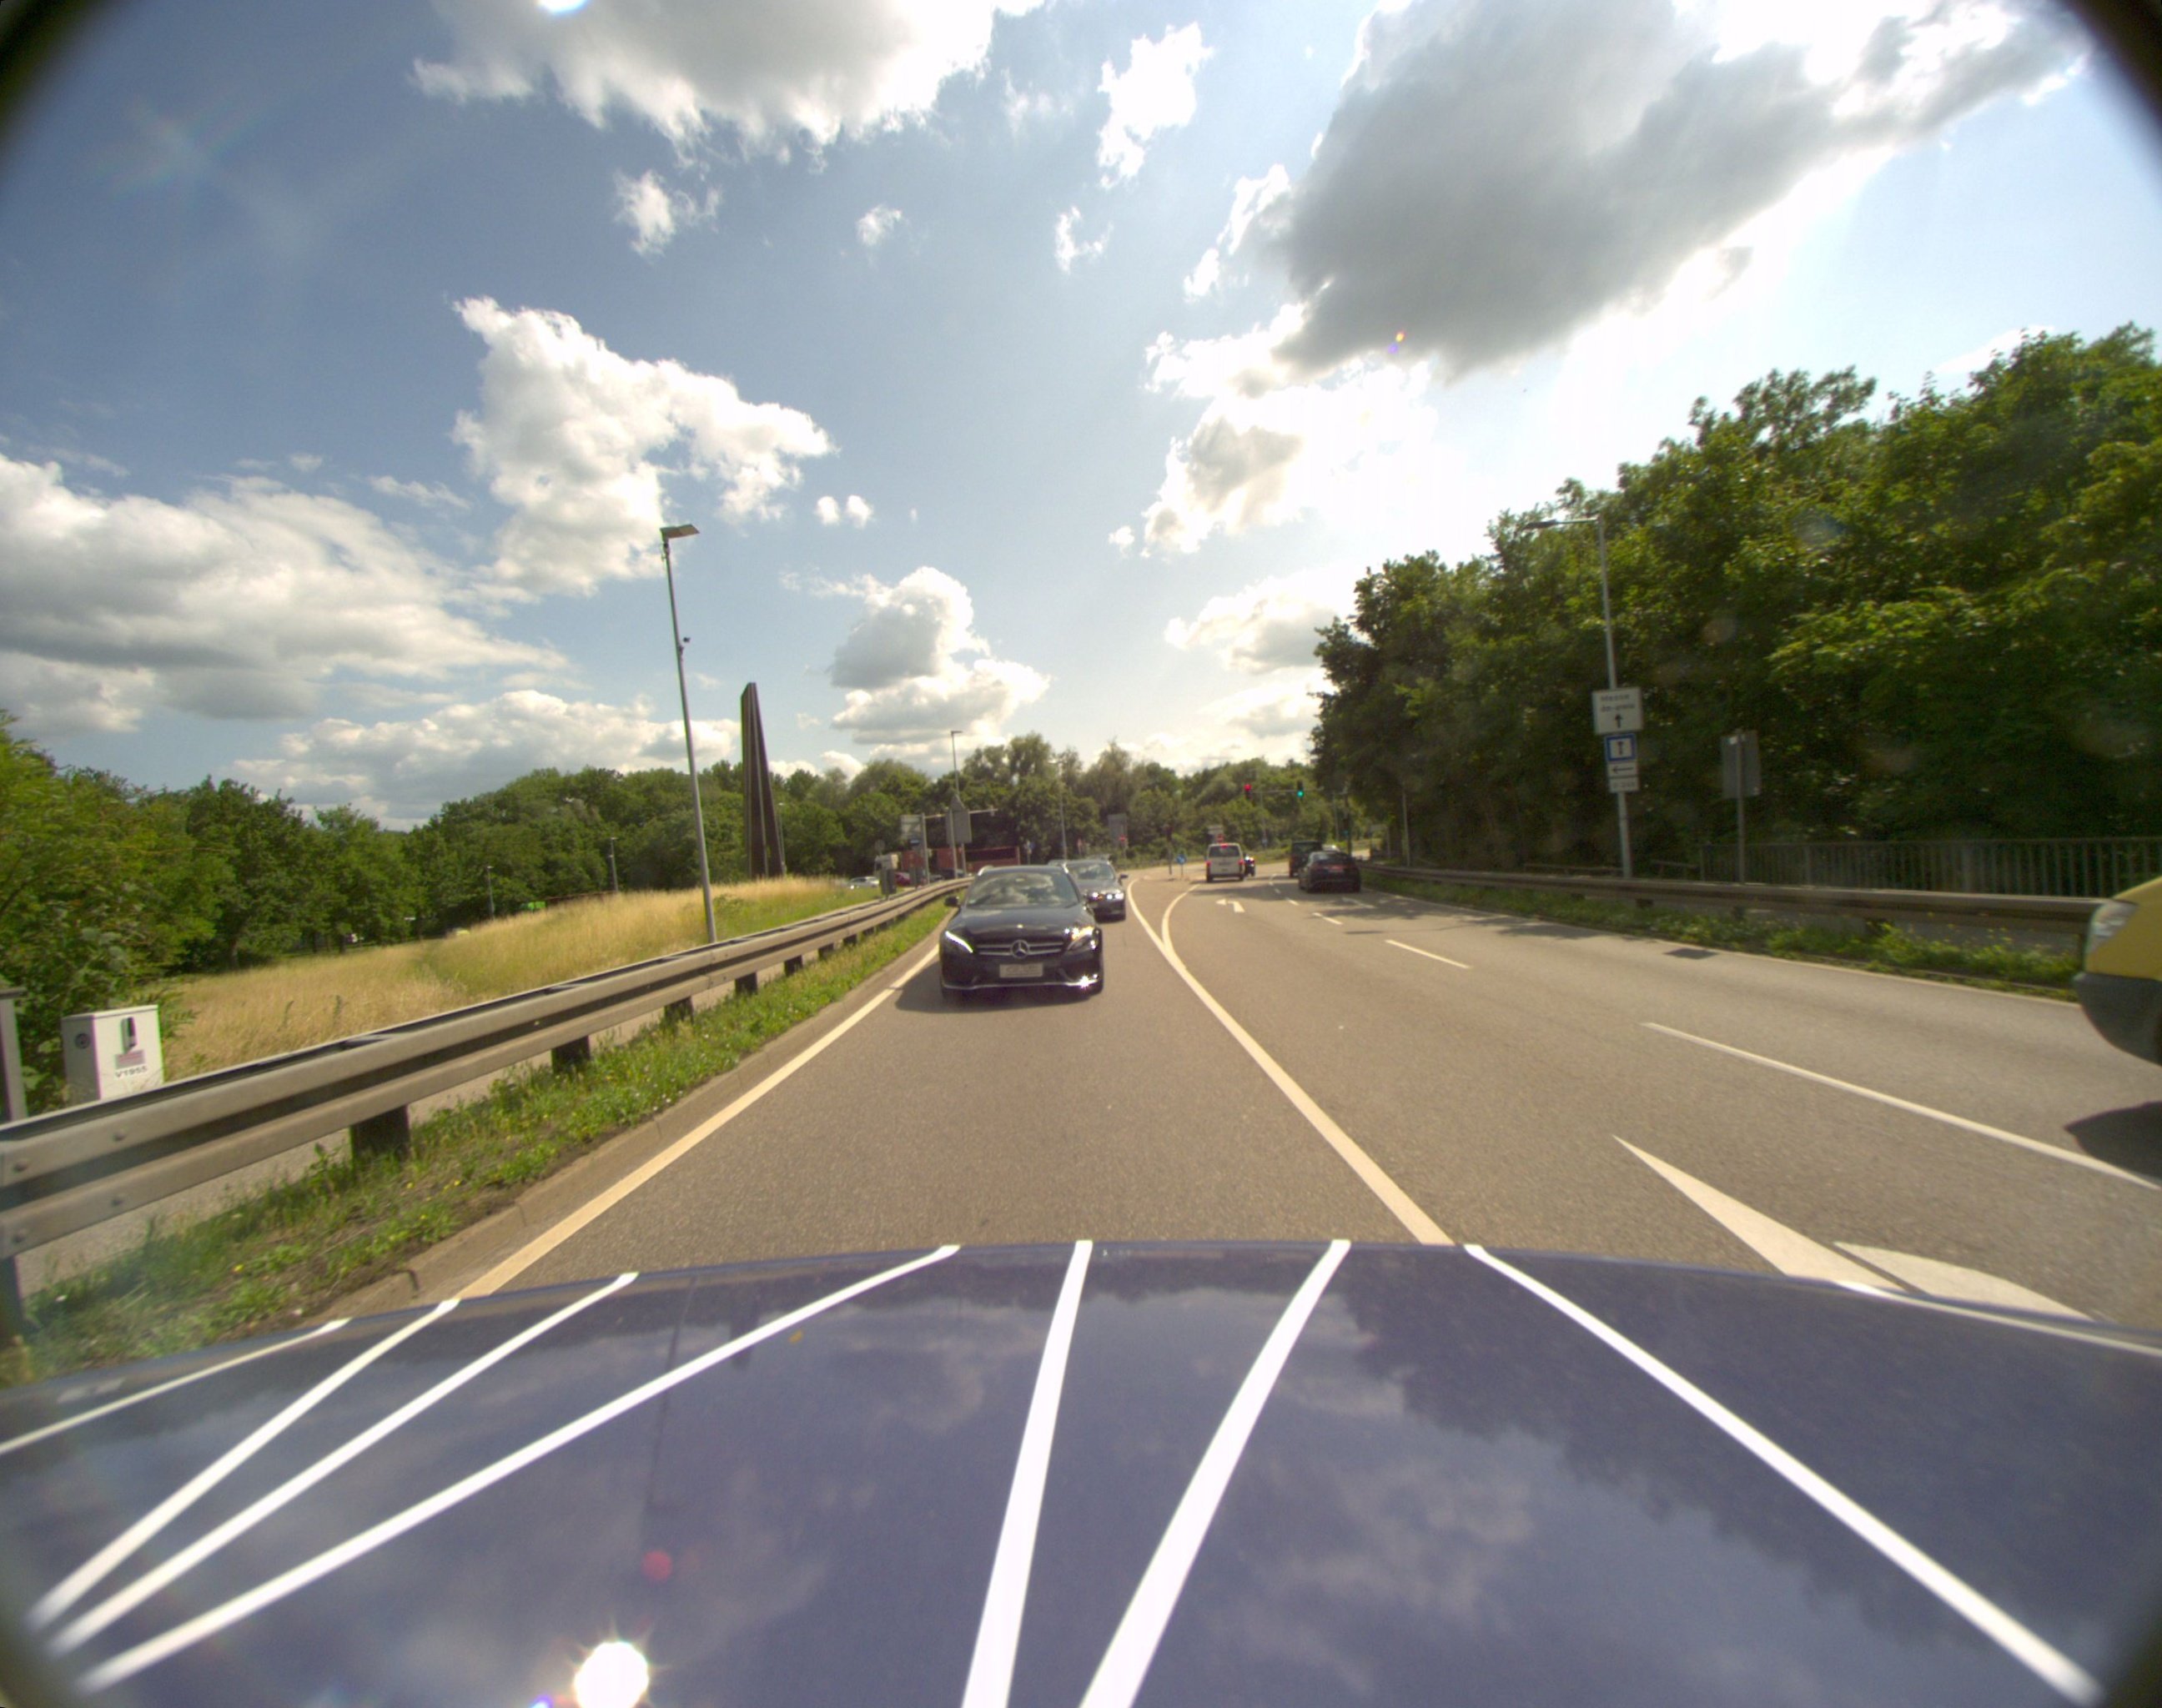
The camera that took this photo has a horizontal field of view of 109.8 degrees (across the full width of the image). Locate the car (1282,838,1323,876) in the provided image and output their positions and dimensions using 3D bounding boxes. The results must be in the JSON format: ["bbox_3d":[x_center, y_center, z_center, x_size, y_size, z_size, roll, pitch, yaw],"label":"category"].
[{"bbox_3d":[12.271,0.153,41.974,1.996,1.902,5.138,-2,0,17],"label":"car"}]

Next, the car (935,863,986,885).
[{"bbox_3d":[-10.874,1.812,68.673,4.284,1.607,1.848,-5,1,32],"label":"car"}]

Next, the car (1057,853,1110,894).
[{"bbox_3d":[0.164,0.731,30.001,1.858,1.402,4.001,-3,0,3],"label":"car"}]

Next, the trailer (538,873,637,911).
[{"bbox_3d":[-65.130,5.007,100.110,13.821,3.868,2.651,-5,0,18],"label":"trailer"}]

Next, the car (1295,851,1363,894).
[{"bbox_3d":[8.854,0.621,27.416,1.801,1.381,4.009,-2,0,11],"label":"car"}]

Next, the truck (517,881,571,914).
[{"bbox_3d":[-72.557,5.863,102.655,5.866,3.880,2.881,-6,0,19],"label":"truck"}]

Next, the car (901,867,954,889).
[{"bbox_3d":[-13.155,2.060,64.918,4.206,1.636,1.841,-5,-1,32],"label":"car"}]

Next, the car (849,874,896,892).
[{"bbox_3d":[-18.910,2.661,68.905,4.206,1.367,1.649,-5,-1,32],"label":"car"}]

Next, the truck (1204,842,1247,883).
[{"bbox_3d":[7.611,0.394,39.992,1.964,1.902,5.374,-3,0,11],"label":"truck"}]

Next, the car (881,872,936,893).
[{"bbox_3d":[-13.852,2.266,60.914,4.206,1.367,1.762,-5,-1,32],"label":"car"}]

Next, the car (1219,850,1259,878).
[{"bbox_3d":[9.600,0.567,46.385,1.702,1.548,3.823,-3,0,3],"label":"car"}]

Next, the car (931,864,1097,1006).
[{"bbox_3d":[-0.961,0.945,10.818,1.796,1.427,4.367,-3,0,-6],"label":"car"}]

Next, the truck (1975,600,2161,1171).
[{"bbox_3d":[5.854,0.128,1.119,1.998,2.605,6.104,-1,0,2],"label":"truck"}]

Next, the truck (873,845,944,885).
[{"bbox_3d":[-18.557,1.188,82.089,6.814,3.822,2.778,-4,0,0],"label":"truck"}]

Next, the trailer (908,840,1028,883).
[{"bbox_3d":[-12.117,0.816,82.084,12.313,3.827,2.780,-4,0,-1],"label":"trailer"}]

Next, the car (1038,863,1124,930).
[{"bbox_3d":[0.098,0.964,18.837,1.858,1.354,4.000,-2,1,3],"label":"car"}]

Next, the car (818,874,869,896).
[{"bbox_3d":[-20.574,2.694,65.798,3.990,1.455,1.870,-5,0,31],"label":"car"}]
